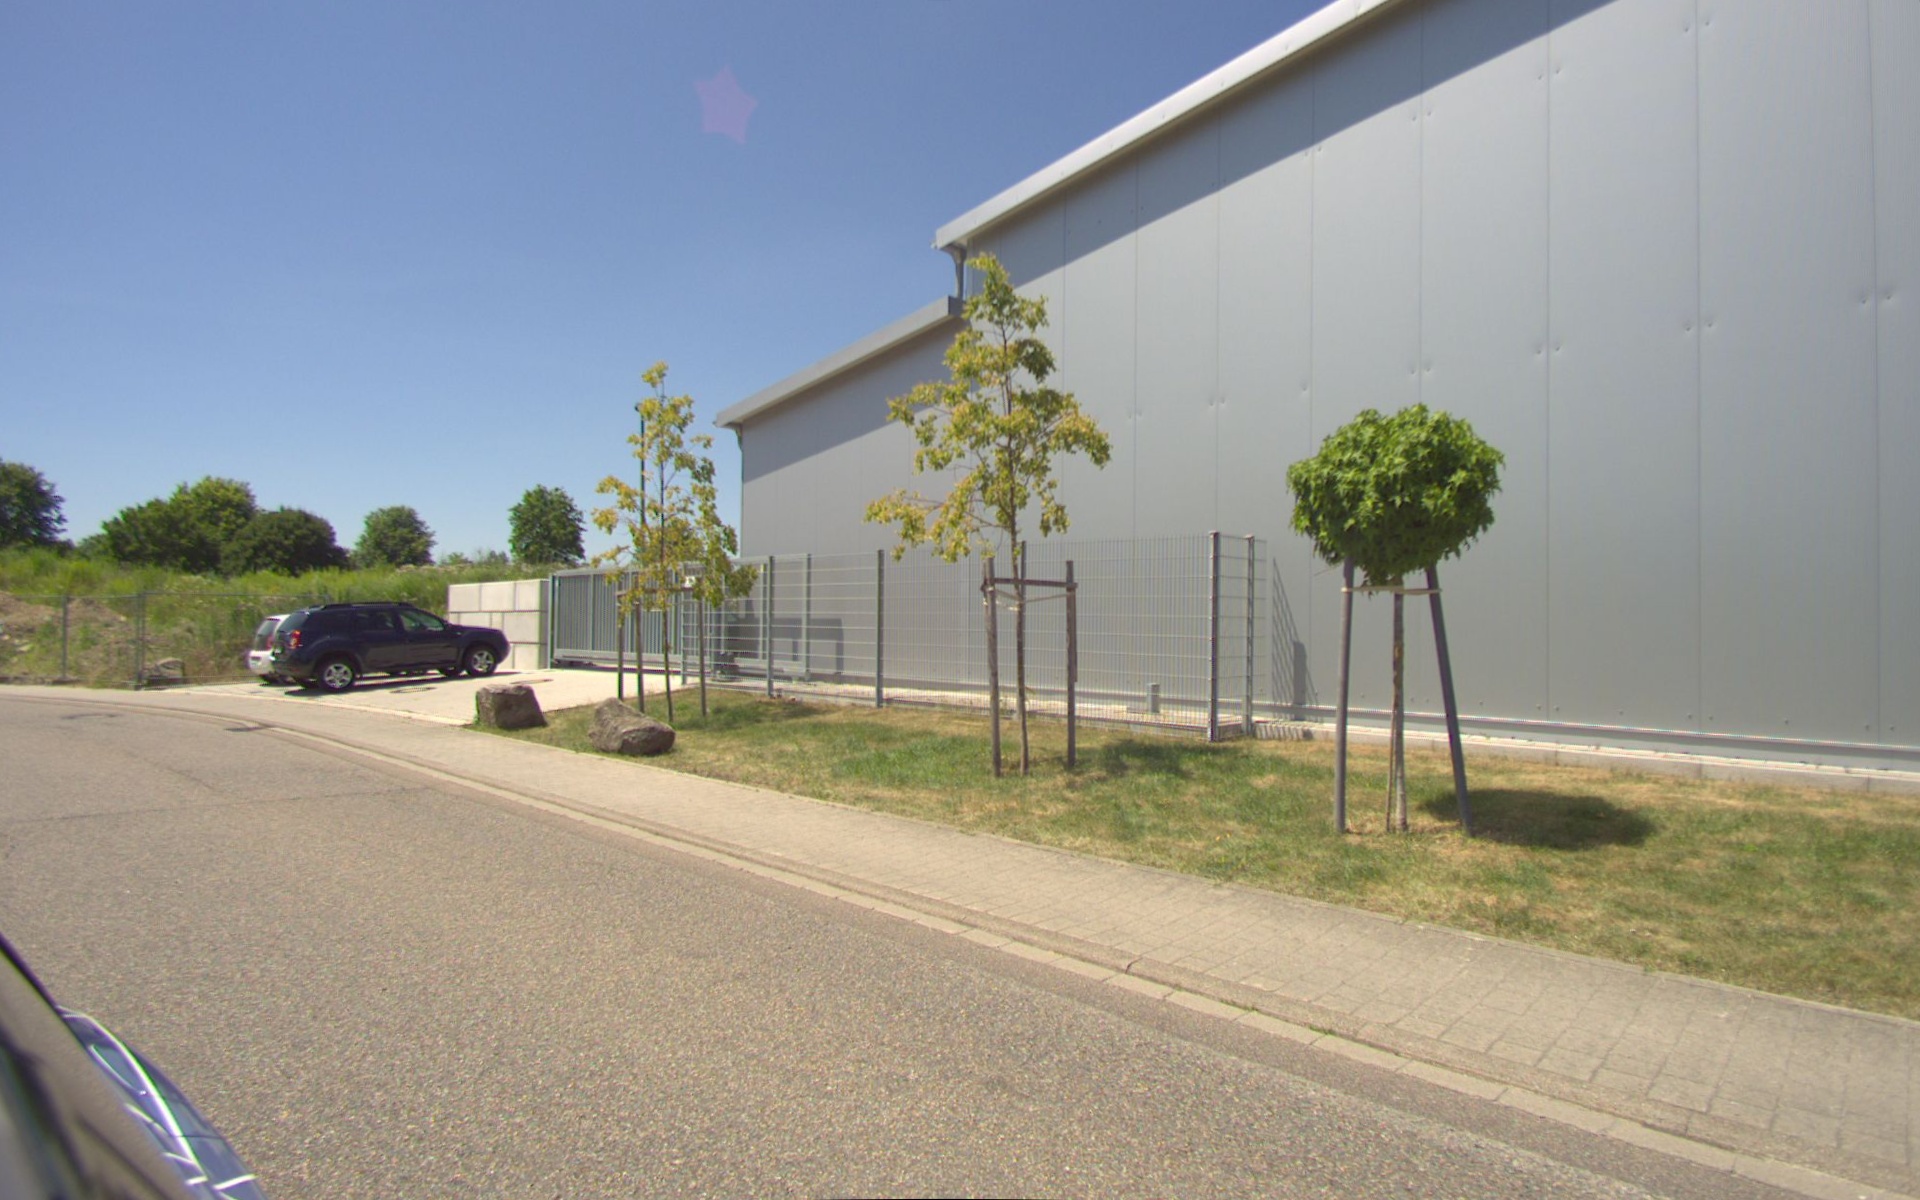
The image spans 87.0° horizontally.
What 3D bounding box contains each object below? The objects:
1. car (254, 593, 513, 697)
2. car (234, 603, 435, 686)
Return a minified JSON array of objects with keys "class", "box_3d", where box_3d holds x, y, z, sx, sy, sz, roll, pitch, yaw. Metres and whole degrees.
[{"class":"car","box_3d":[-11.464,0.807,20.333,1.782,1.671,4.117,-1,3,43]},{"class":"car","box_3d":[-13.593,0.909,22.101,1.781,1.472,3.326,-1,3,41]}]
